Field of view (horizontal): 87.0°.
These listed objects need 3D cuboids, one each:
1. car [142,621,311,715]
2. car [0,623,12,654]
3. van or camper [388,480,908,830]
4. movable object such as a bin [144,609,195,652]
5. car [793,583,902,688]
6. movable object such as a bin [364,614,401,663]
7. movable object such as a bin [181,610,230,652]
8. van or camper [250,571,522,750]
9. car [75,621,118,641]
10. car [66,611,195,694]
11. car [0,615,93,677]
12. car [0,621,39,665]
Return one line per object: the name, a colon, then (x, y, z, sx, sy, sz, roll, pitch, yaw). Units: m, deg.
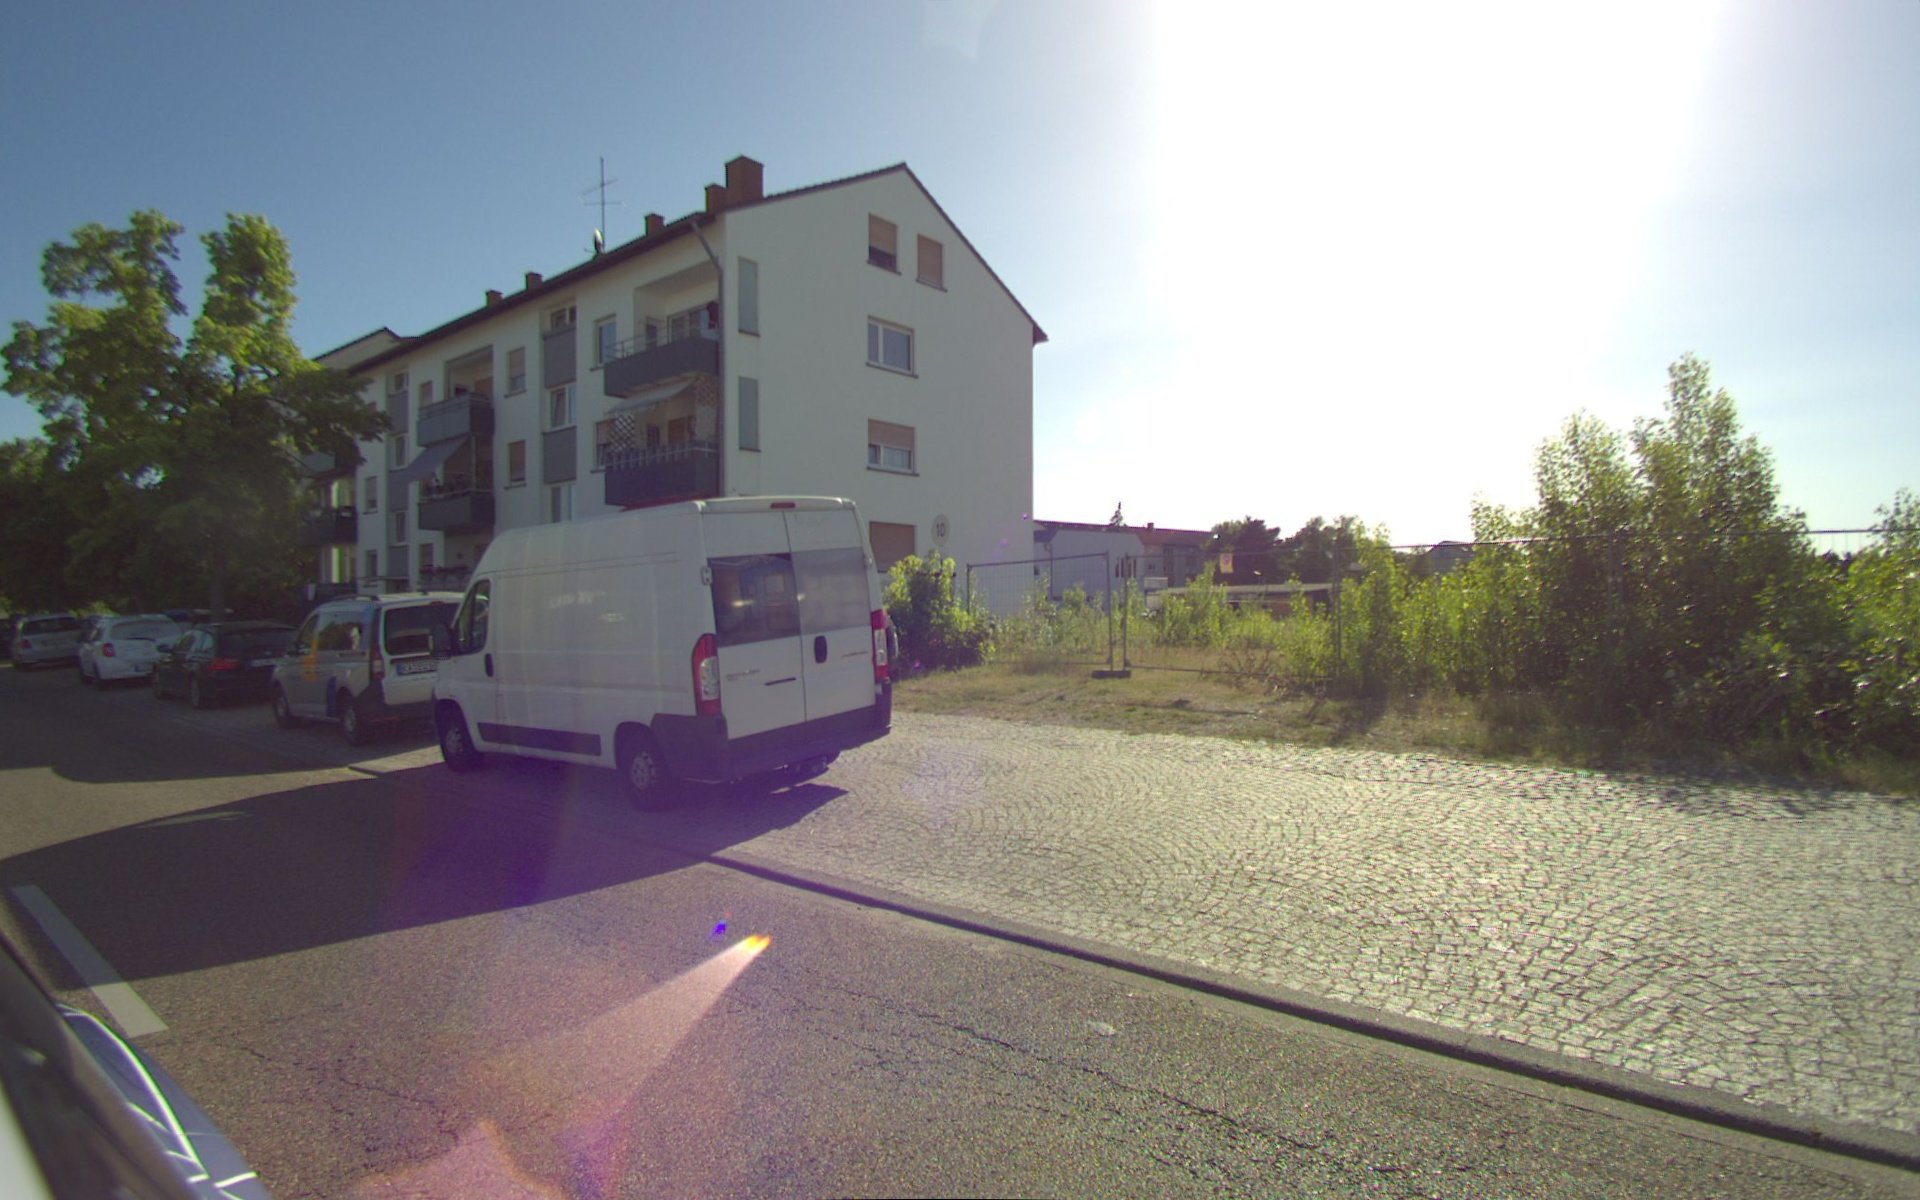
car: (-13.308, 1.135, 18.264, 4.312, 1.446, 1.592, -1, 0, 42)
car: (-49.382, 1.984, 51.317, 1.637, 1.505, 3.914, -4, 2, -40)
van or camper: (-3.288, 0.388, 9.860, 5.552, 2.508, 2.101, -1, 2, 41)
movable object such as a bin: (-31.362, 1.192, 40.151, 1.267, 1.675, 1.398, -2, -1, 42)
car: (-2.025, 0.542, 17.253, 1.588, 1.525, 4.397, -1, 0, -9)
movable object such as a bin: (-15.412, 1.011, 27.014, 0.671, 1.289, 0.679, -2, -1, 43)
movable object such as a bin: (-29.101, 1.178, 39.028, 1.327, 1.555, 1.276, -2, -1, 43)
van or camper: (-7.871, 0.713, 13.714, 4.277, 2.029, 1.858, -1, 1, 41)
car: (-69.773, 2.498, 81.842, 1.624, 1.551, 3.716, 0, -2, -23)
car: (-18.381, 1.099, 22.373, 3.907, 1.577, 1.674, -1, 2, 43)
car: (-27.740, 1.333, 30.659, 3.908, 1.604, 1.704, -1, 4, 43)
car: (-36.619, 1.636, 38.425, 4.539, 1.504, 1.705, -1, 4, 39)
